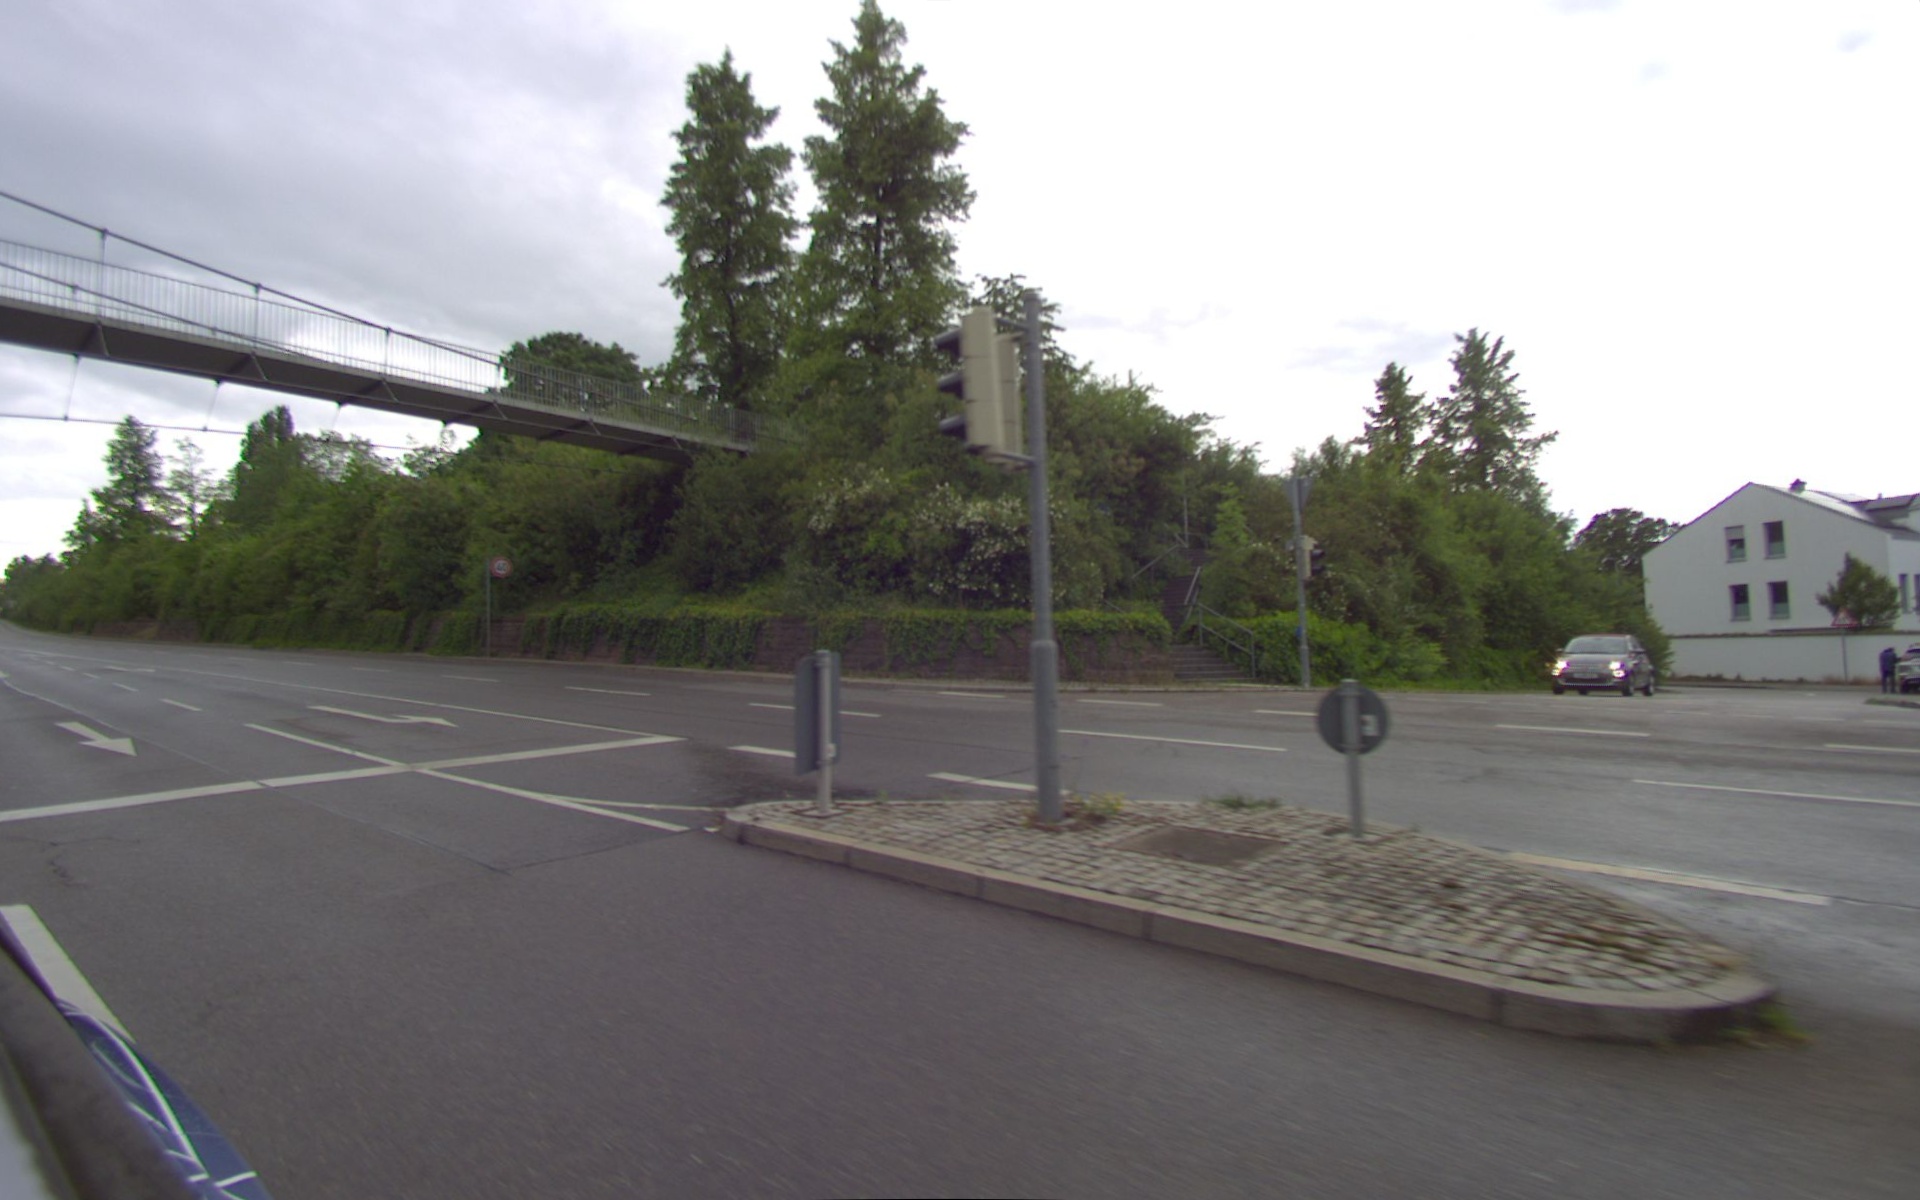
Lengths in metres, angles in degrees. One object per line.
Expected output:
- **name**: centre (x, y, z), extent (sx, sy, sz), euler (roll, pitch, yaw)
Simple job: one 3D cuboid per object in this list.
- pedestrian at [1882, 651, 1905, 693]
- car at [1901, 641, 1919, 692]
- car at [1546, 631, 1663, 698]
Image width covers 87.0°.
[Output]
- **pedestrian**: centre (33.034, 2.522, 35.806), extent (0.548, 1.450, 0.474), euler (-2, -2, 43)
- **car**: centre (34.039, 2.260, 34.980), extent (3.939, 1.716, 1.896), euler (2, -4, -43)
- **car**: centre (15.639, 1.528, 24.471), extent (1.692, 1.484, 3.944), euler (-4, -4, 42)
